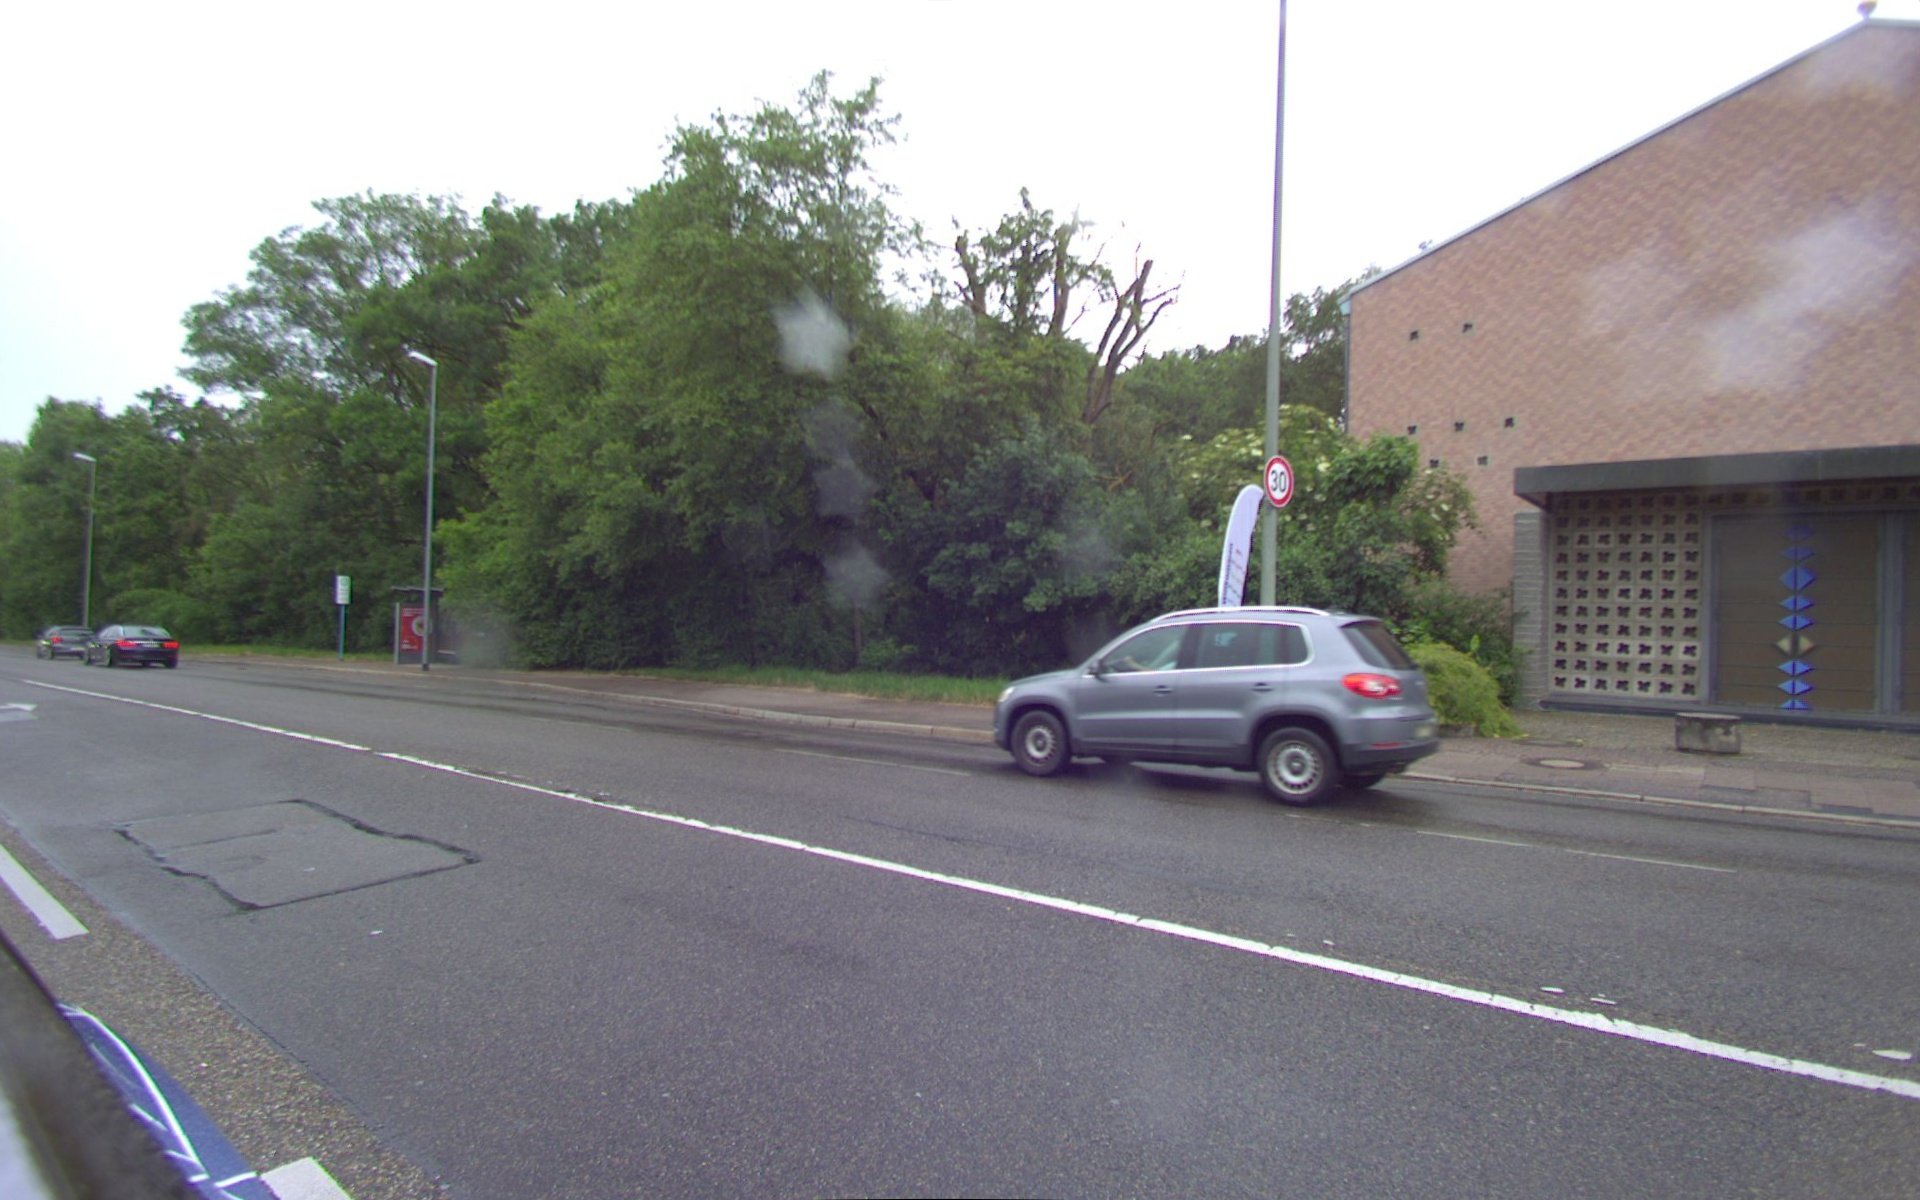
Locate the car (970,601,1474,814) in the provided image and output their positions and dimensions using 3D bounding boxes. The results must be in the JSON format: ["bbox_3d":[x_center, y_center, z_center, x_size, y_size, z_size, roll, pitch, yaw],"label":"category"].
[{"bbox_3d":[2.374,0.885,9.736,4.312,1.603,1.890,-1,-3,38],"label":"car"}]

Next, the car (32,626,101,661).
[{"bbox_3d":[-38.478,1.878,43.549,3.901,1.440,1.578,-1,-3,39],"label":"car"}]

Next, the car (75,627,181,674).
[{"bbox_3d":[-29.251,1.755,35.530,4.944,1.465,1.891,-1,-5,40],"label":"car"}]
